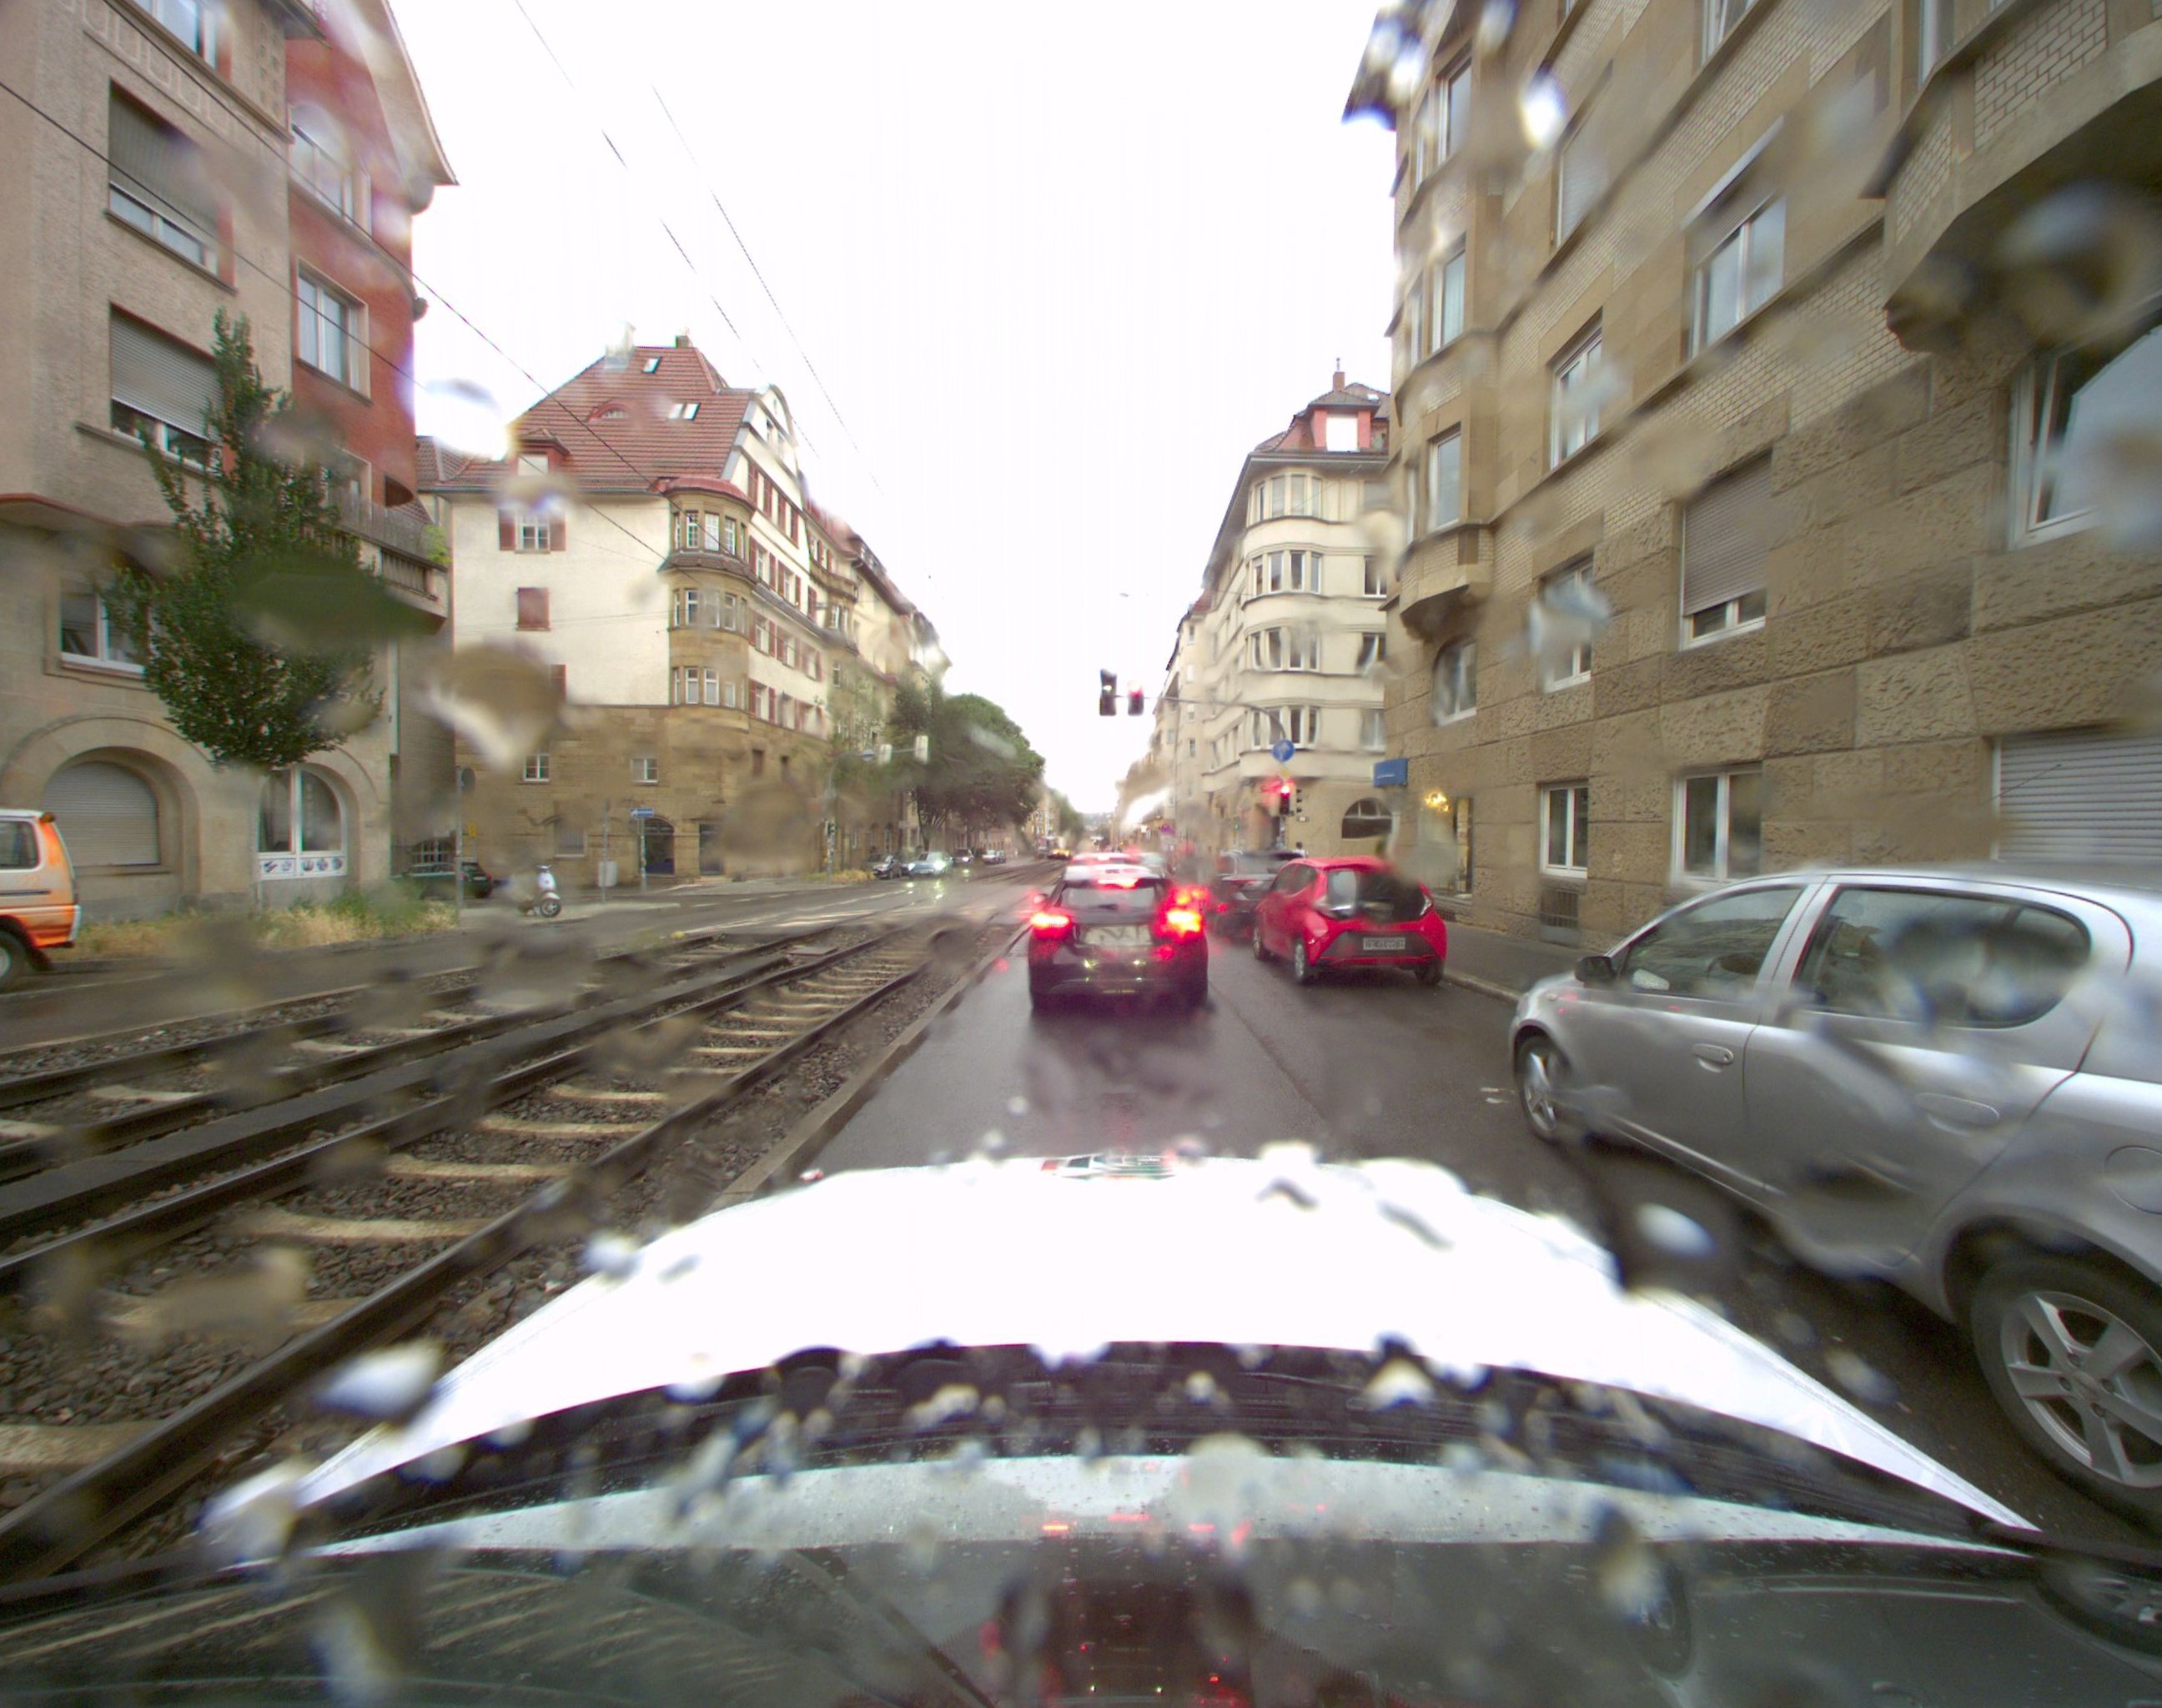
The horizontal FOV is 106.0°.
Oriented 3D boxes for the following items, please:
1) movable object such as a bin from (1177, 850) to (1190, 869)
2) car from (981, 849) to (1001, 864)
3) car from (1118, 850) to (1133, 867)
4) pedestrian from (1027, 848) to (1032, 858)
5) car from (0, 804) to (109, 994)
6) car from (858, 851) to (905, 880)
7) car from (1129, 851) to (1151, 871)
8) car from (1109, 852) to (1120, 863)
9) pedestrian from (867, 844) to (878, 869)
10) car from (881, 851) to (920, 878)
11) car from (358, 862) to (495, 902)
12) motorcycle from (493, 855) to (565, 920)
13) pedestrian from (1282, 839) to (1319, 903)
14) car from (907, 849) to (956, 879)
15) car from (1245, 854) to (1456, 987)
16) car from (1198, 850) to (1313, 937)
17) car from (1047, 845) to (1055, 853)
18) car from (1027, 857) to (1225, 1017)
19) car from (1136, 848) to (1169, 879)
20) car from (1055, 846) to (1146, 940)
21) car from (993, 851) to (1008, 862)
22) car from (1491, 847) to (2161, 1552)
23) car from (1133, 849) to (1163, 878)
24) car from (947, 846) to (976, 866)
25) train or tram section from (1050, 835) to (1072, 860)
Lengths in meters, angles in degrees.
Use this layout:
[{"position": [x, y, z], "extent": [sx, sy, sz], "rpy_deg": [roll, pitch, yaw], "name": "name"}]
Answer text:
[{"position": [7.480, 0.412, 59.577], "extent": [0.873, 1.389, 0.984], "rpy_deg": [-1, -1, 5], "name": "movable object such as a bin"}, {"position": [-9.864, 0.304, 89.616], "extent": [1.583, 1.581, 3.920], "rpy_deg": [0, -1, 2], "name": "car"}, {"position": [4.030, 0.395, 73.694], "extent": [1.289, 1.442, 2.930], "rpy_deg": [0, 0, 2], "name": "car"}, {"position": [-11.153, -0.225, 176.838], "extent": [1.049, 1.957, 1.043], "rpy_deg": [1, 0, 3], "name": "pedestrian"}, {"position": [-12.111, 0.464, 7.229], "extent": [1.725, 1.975, 4.341], "rpy_deg": [0, -1, 0], "name": "car"}, {"position": [-11.248, 0.636, 46.136], "extent": [1.747, 1.552, 4.033], "rpy_deg": [0, -1, -2], "name": "car"}, {"position": [4.421, 0.519, 61.603], "extent": [1.539, 1.486, 3.549], "rpy_deg": [0, 0, 2], "name": "car"}, {"position": [5.134, 0.586, 123.838], "extent": [1.537, 1.636, 3.691], "rpy_deg": [0, 0, 5], "name": "car"}, {"position": [-14.149, 0.160, 55.245], "extent": [0.630, 1.672, 0.701], "rpy_deg": [0, -1, -4], "name": "pedestrian"}, {"position": [-11.280, 0.642, 51.171], "extent": [1.713, 1.611, 3.914], "rpy_deg": [0, -1, -3], "name": "car"}, {"position": [-24.375, 1.012, 30.426], "extent": [3.633, 1.404, 1.699], "rpy_deg": [0, -1, -3], "name": "car"}, {"position": [-12.057, 0.707, 17.785], "extent": [1.577, 1.365, 0.628], "rpy_deg": [-1, -1, 28], "name": "motorcycle"}, {"position": [6.181, 0.467, 22.968], "extent": [0.739, 1.748, 1.111], "rpy_deg": [0, -1, 2], "name": "pedestrian"}, {"position": [-8.263, 0.576, 45.450], "extent": [1.891, 1.588, 3.974], "rpy_deg": [0, -1, 2], "name": "car"}, {"position": [3.288, 0.725, 10.586], "extent": [1.637, 1.448, 3.298], "rpy_deg": [0, 0, -1], "name": "car"}, {"position": [3.253, 0.679, 15.830], "extent": [1.539, 1.486, 3.831], "rpy_deg": [0, 0, 2], "name": "car"}, {"position": [-5.519, -0.911, 150.180], "extent": [1.372, 1.249, 3.297], "rpy_deg": [0, -1, 0], "name": "car"}, {"position": [0.477, 0.773, 9.584], "extent": [1.822, 1.458, 4.105], "rpy_deg": [0, 0, 2], "name": "car"}, {"position": [3.709, 0.473, 42.722], "extent": [1.539, 1.590, 3.549], "rpy_deg": [0, 0, 2], "name": "car"}, {"position": [0.403, 0.691, 15.979], "extent": [1.559, 1.609, 3.815], "rpy_deg": [0, -1, 2], "name": "car"}, {"position": [-9.795, 0.291, 99.032], "extent": [1.443, 1.331, 3.271], "rpy_deg": [0, -1, 0], "name": "car"}, {"position": [3.158, 0.731, 3.120], "extent": [1.608, 1.467, 3.314], "rpy_deg": [-2, 0, 3], "name": "car"}, {"position": [3.849, 0.516, 47.196], "extent": [1.539, 1.590, 3.549], "rpy_deg": [0, 0, 2], "name": "car"}, {"position": [-10.592, 0.211, 72.158], "extent": [1.868, 1.737, 3.920], "rpy_deg": [0, -1, 2], "name": "car"}, {"position": [-3.136, -0.918, 130.546], "extent": [2.772, 3.861, 10.433], "rpy_deg": [0, -1, 2], "name": "train or tram section"}]
